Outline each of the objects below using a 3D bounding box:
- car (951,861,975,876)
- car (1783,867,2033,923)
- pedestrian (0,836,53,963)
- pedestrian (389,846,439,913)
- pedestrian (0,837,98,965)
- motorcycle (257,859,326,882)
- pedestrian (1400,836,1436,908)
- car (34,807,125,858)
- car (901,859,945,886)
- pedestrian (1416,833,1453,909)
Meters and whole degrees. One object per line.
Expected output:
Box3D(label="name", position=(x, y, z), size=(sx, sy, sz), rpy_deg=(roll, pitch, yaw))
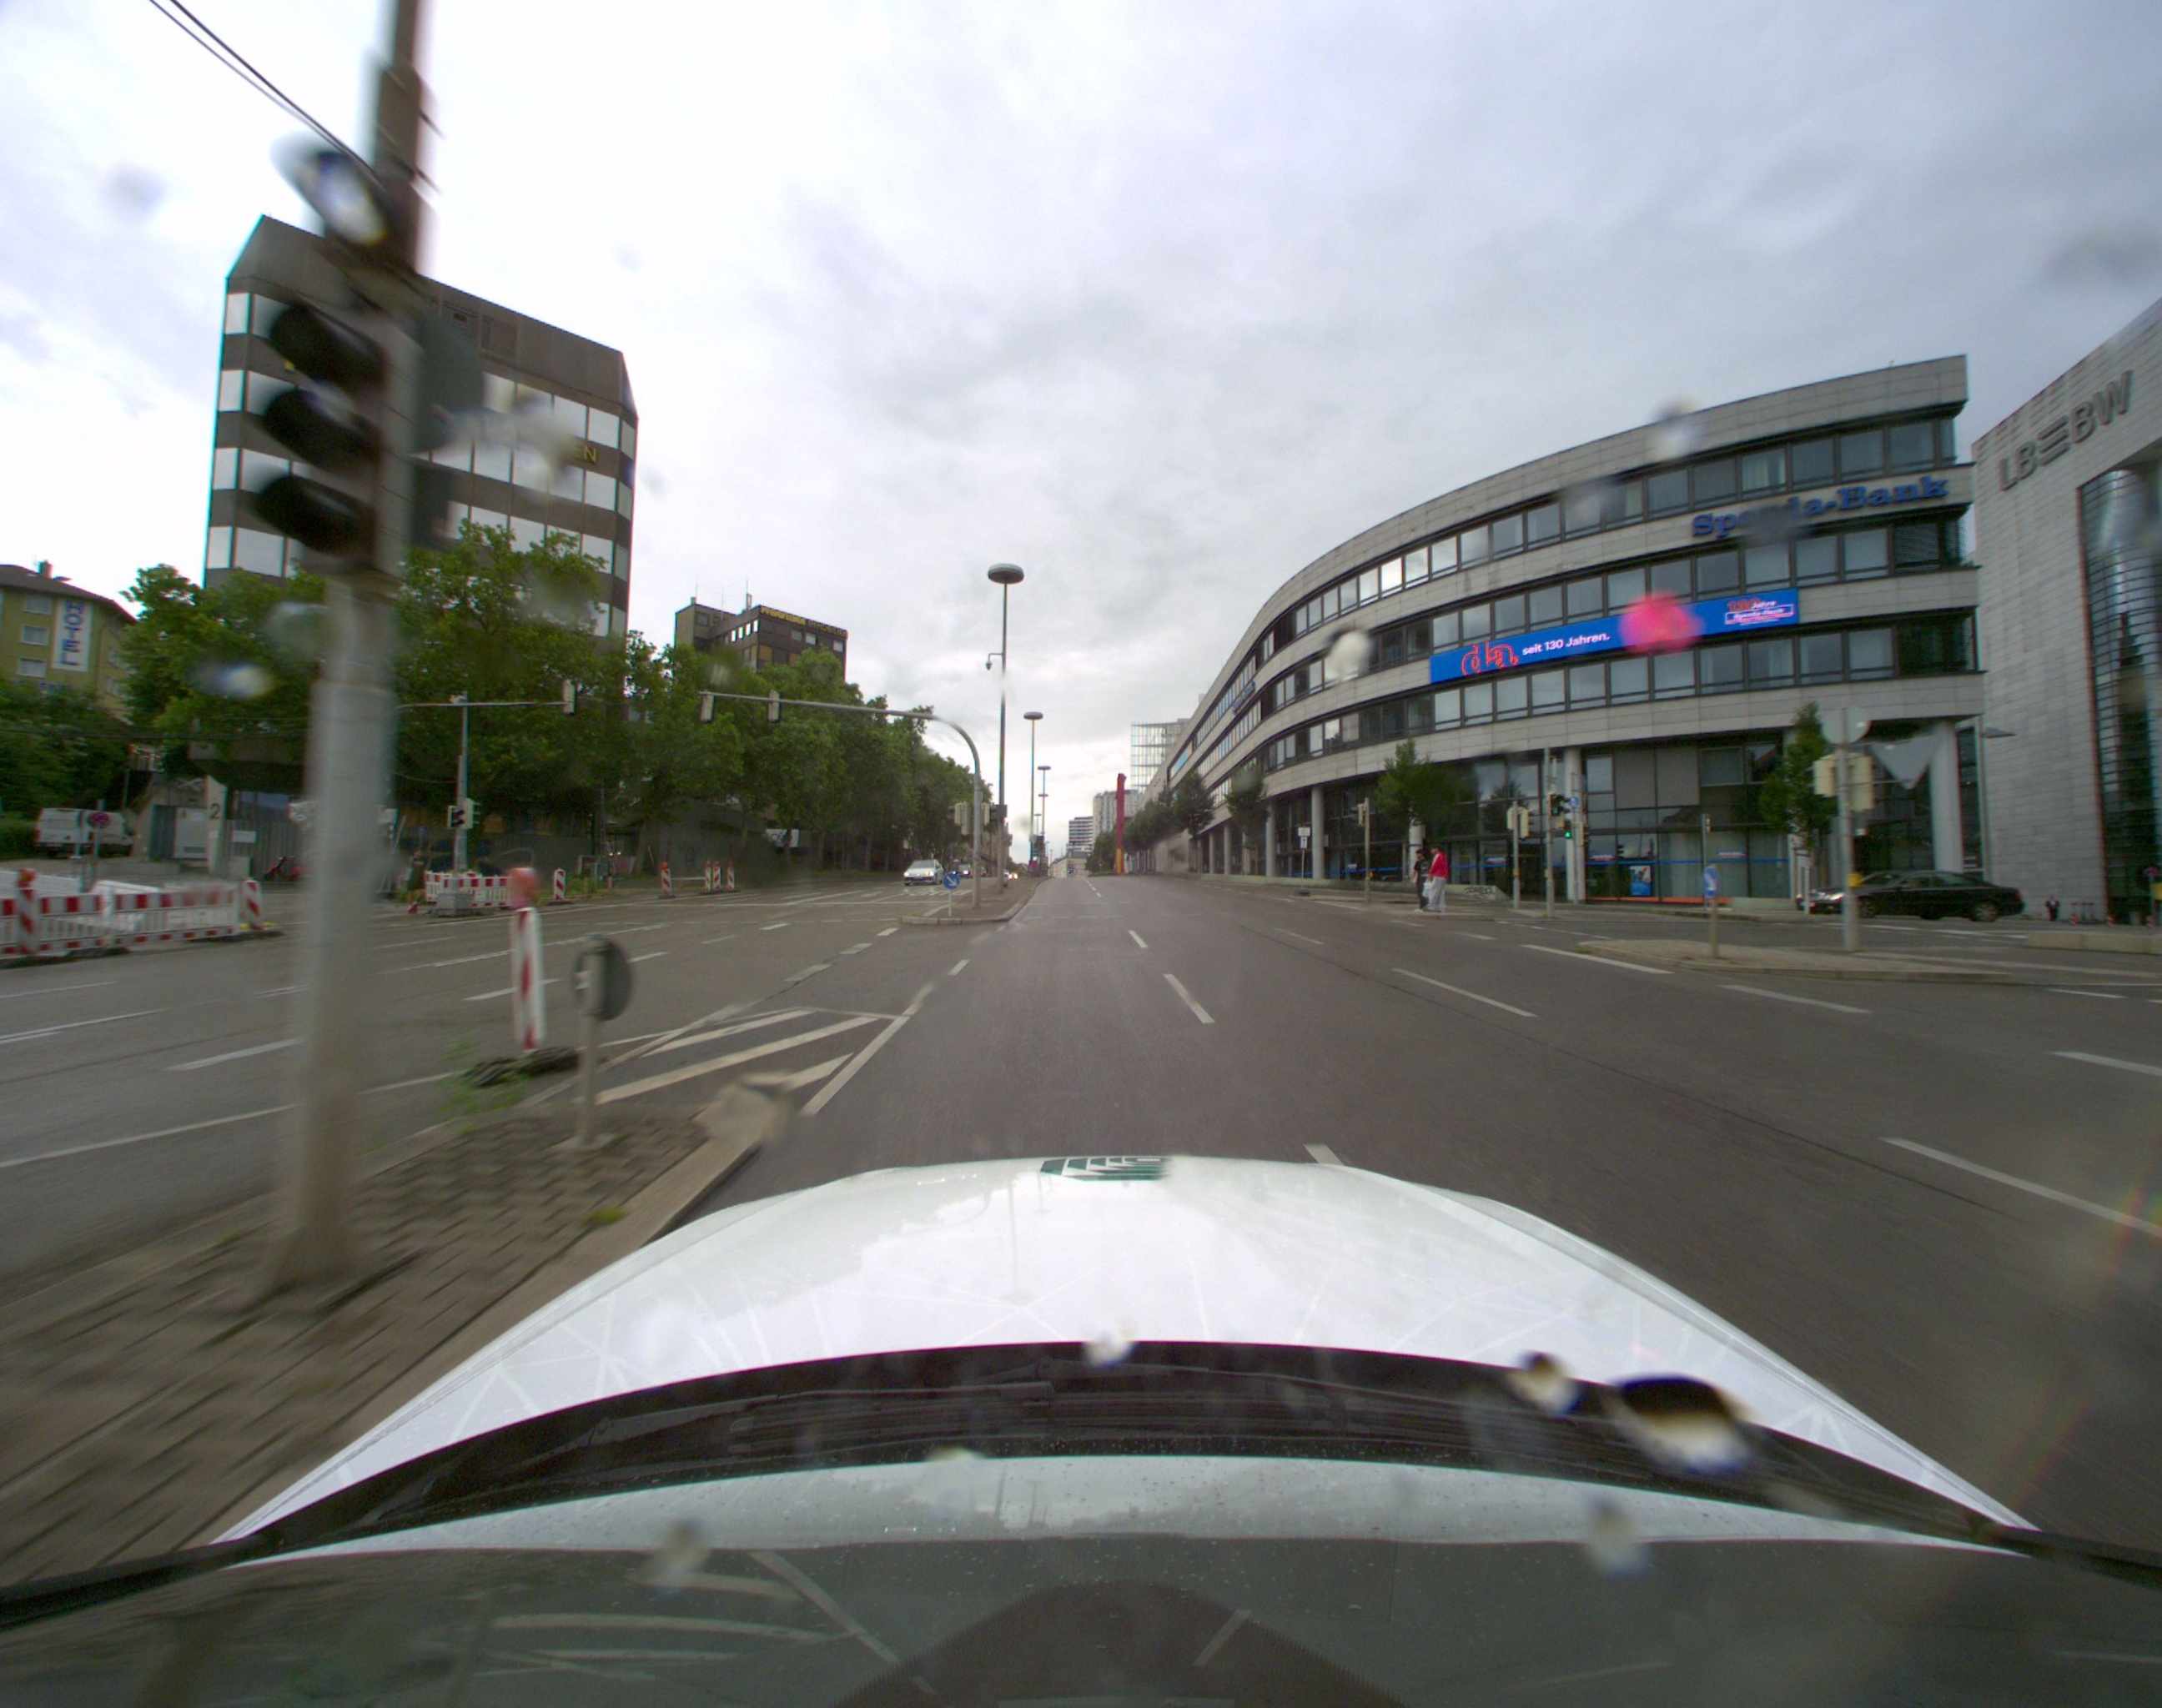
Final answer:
Box3D(label="car", position=(-11.793, 1.434, 81.432), size=(1.802, 1.448, 4.337), rpy_deg=(-1, 0, -1))
Box3D(label="car", position=(22.967, 1.129, 22.817), size=(4.669, 1.442, 1.872), rpy_deg=(0, -3, 11))
Box3D(label="pedestrian", position=(-16.780, 0.696, 12.567), size=(0.758, 1.923, 0.742), rpy_deg=(0, -3, 2))
Box3D(label="pedestrian", position=(-19.098, 0.723, 23.337), size=(0.740, 1.880, 0.744), rpy_deg=(1, -3, -10))
Box3D(label="pedestrian", position=(-16.033, 0.714, 12.560), size=(0.669, 1.902, 0.776), rpy_deg=(0, -3, 2))
Box3D(label="motorcycle", position=(-36.047, 0.746, 37.214), size=(2.192, 1.037, 0.560), rpy_deg=(1, -1, -36))
Box3D(label="pedestrian", position=(9.111, 0.483, 22.035), size=(0.833, 1.905, 0.736), rpy_deg=(-1, -2, 25))
Box3D(label="car", position=(-55.418, -1.130, 45.198), size=(2.240, 2.443, 5.438), rpy_deg=(3, -4, -41))
Box3D(label="car", position=(-9.137, 1.030, 47.502), size=(1.756, 1.460, 4.358), rpy_deg=(-1, 0, -1))
Box3D(label="pedestrian", position=(9.122, 0.453, 20.999), size=(0.833, 1.905, 0.866), rpy_deg=(-1, -3, 25))
